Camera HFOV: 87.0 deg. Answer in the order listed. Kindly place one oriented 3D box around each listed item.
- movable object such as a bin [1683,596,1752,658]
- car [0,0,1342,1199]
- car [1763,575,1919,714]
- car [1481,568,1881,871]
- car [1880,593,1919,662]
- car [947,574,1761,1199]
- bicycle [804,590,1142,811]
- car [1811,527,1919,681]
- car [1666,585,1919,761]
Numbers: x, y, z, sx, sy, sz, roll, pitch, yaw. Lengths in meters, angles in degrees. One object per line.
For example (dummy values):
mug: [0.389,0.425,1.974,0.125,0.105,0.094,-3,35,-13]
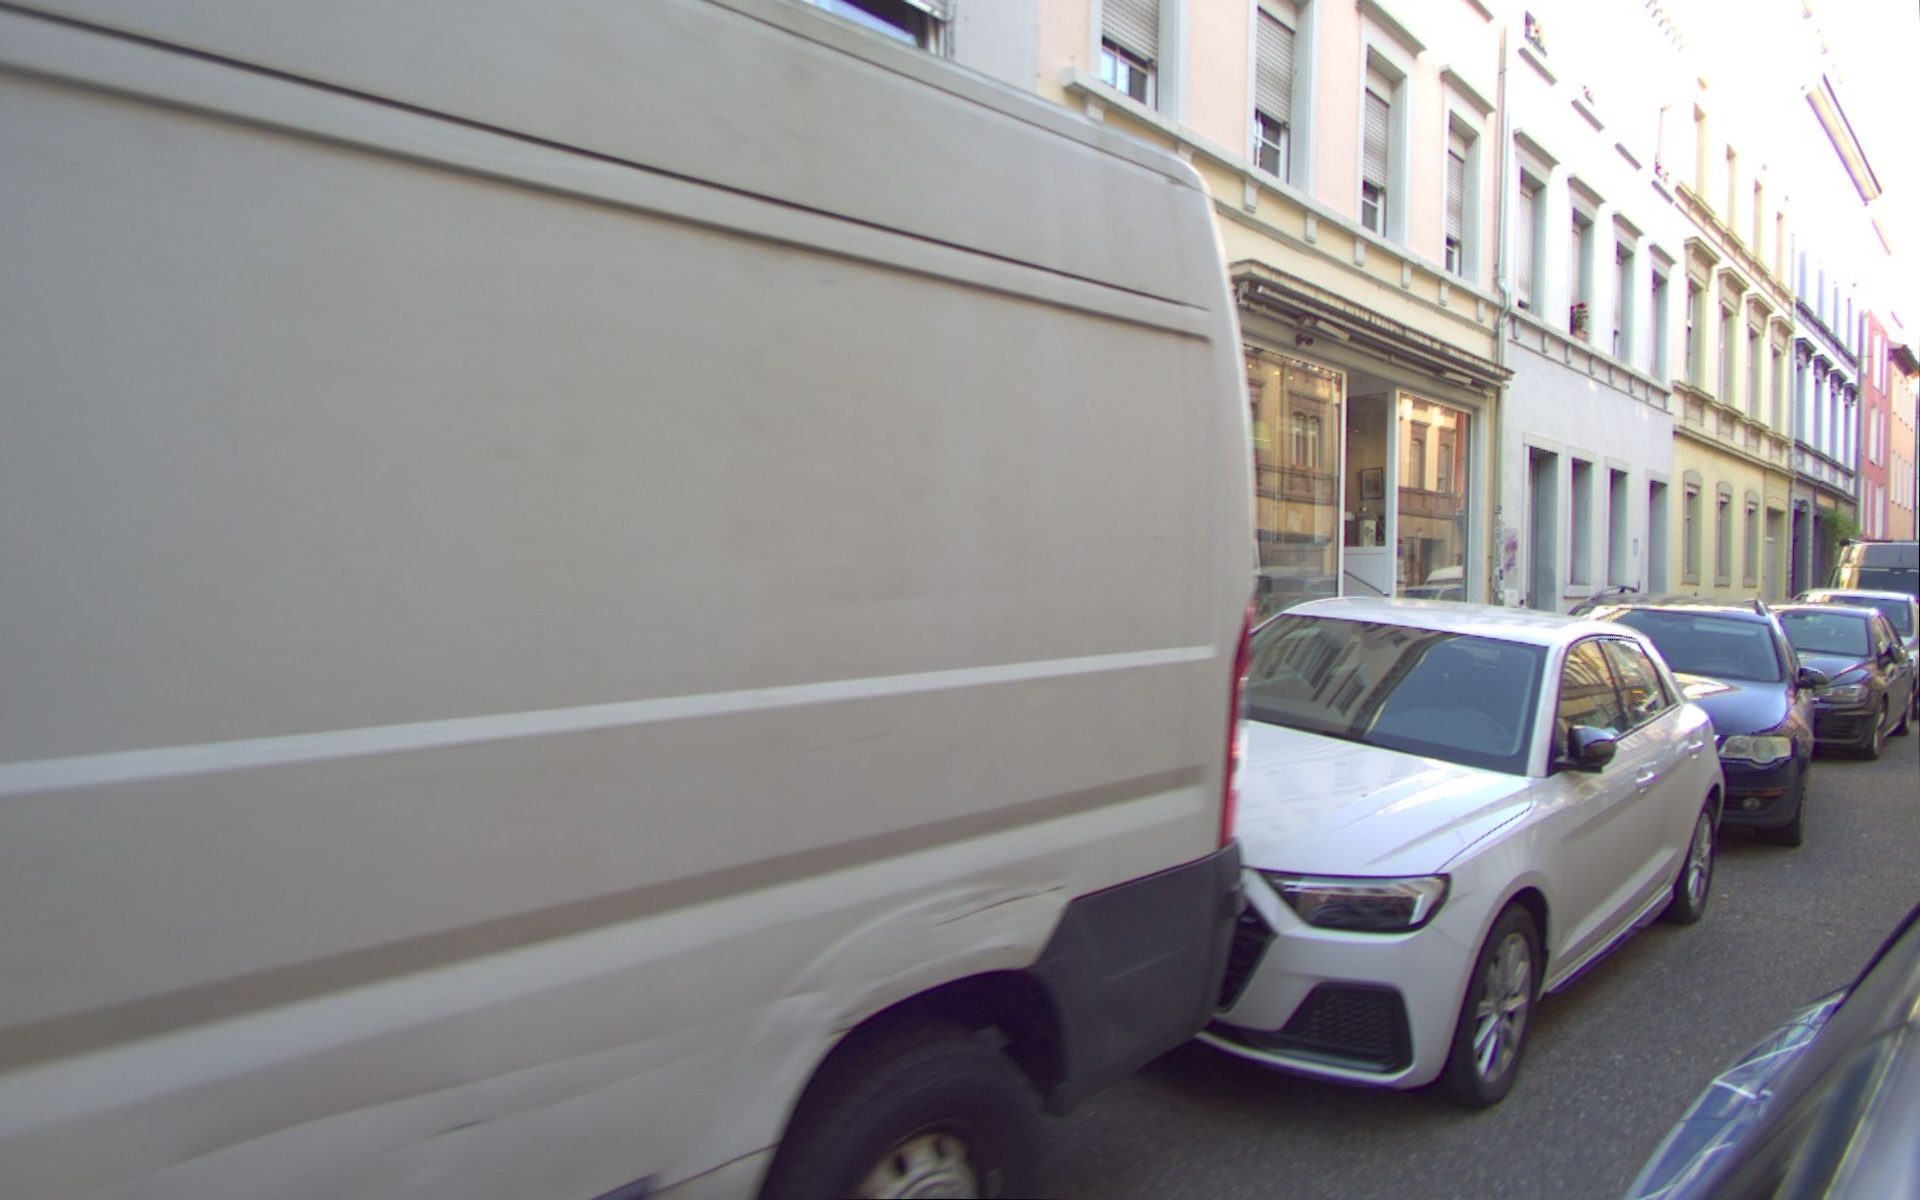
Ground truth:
movable object such as a bin: [14.165,0.493,18.931,0.696,1.055,0.864,0,4,-43]
car: [-2.052,0.172,1.324,5.931,2.582,2.208,0,2,-41]
car: [12.823,0.519,14.176,4.299,1.627,1.697,0,3,-42]
car: [5.517,0.614,7.684,1.809,1.496,4.543,6,4,39]
car: [22.257,0.597,22.851,4.099,1.462,1.750,0,1,-41]
car: [1.922,0.654,4.288,3.767,1.447,1.727,0,2,-43]
bicycle: [0.167,0.550,6.546,2.311,1.172,0.629,0,4,-41]
car: [17.443,0.041,18.328,6.200,2.455,2.179,0,3,-42]
car: [9.266,0.629,10.929,4.169,1.504,1.749,0,2,-42]
